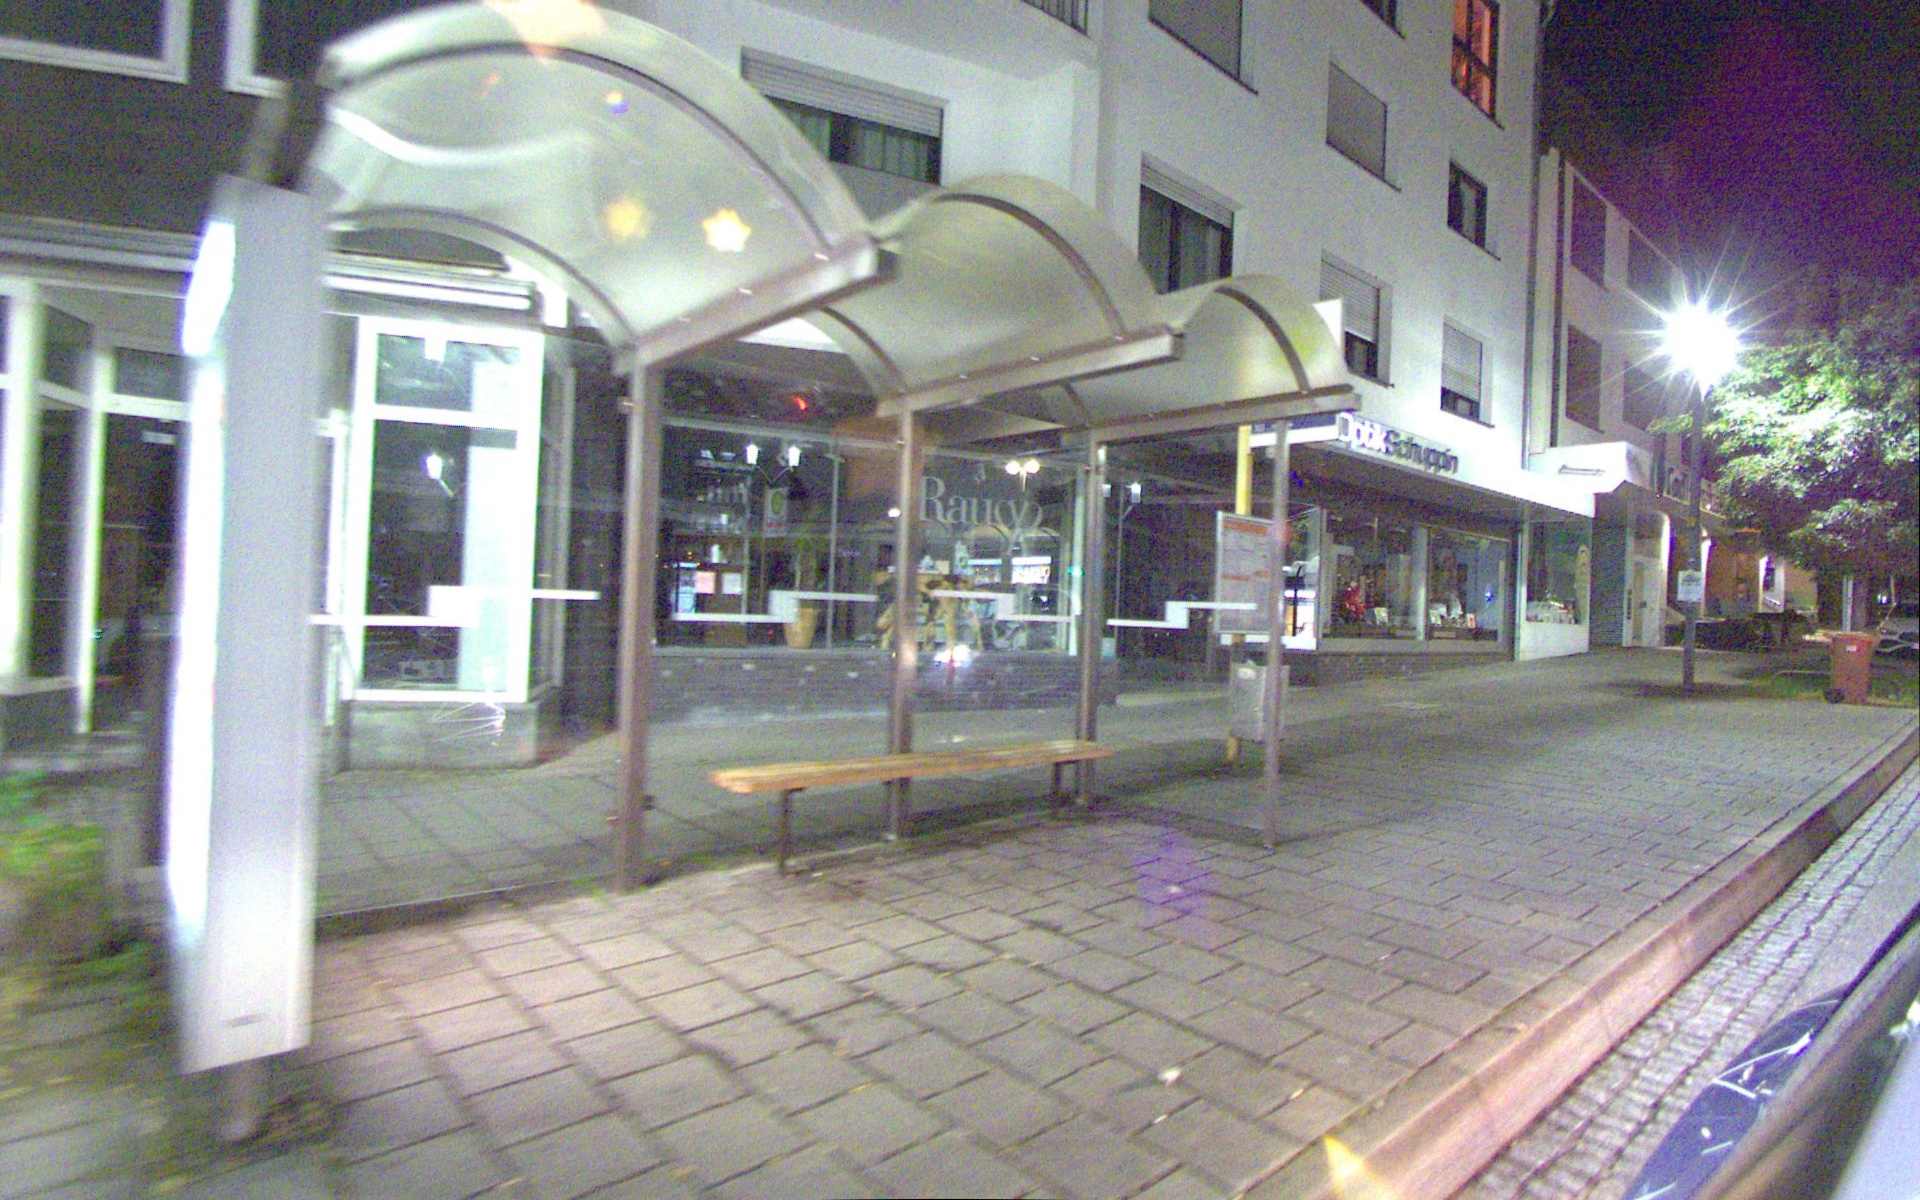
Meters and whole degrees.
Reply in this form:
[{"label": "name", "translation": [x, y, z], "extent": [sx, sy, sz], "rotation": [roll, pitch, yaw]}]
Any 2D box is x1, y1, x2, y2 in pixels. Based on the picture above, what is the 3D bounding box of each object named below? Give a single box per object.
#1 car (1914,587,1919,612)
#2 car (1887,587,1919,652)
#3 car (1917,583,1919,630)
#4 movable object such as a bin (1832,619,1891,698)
[{"label": "car", "translation": [60.044, -0.032, 62.447], "extent": [1.638, 1.485, 3.717], "rotation": [-1, 0, 43]}, {"label": "car", "translation": [24.037, 0.466, 24.679], "extent": [4.520, 1.459, 1.859], "rotation": [-1, 3, -45]}, {"label": "car", "translation": [35.514, 0.226, 36.141], "extent": [1.788, 1.661, 4.309], "rotation": [4, 3, 44]}, {"label": "movable object such as a bin", "translation": [11.600, 0.741, 13.038], "extent": [0.523, 0.948, 0.621], "rotation": [0, 1, 38]}]
